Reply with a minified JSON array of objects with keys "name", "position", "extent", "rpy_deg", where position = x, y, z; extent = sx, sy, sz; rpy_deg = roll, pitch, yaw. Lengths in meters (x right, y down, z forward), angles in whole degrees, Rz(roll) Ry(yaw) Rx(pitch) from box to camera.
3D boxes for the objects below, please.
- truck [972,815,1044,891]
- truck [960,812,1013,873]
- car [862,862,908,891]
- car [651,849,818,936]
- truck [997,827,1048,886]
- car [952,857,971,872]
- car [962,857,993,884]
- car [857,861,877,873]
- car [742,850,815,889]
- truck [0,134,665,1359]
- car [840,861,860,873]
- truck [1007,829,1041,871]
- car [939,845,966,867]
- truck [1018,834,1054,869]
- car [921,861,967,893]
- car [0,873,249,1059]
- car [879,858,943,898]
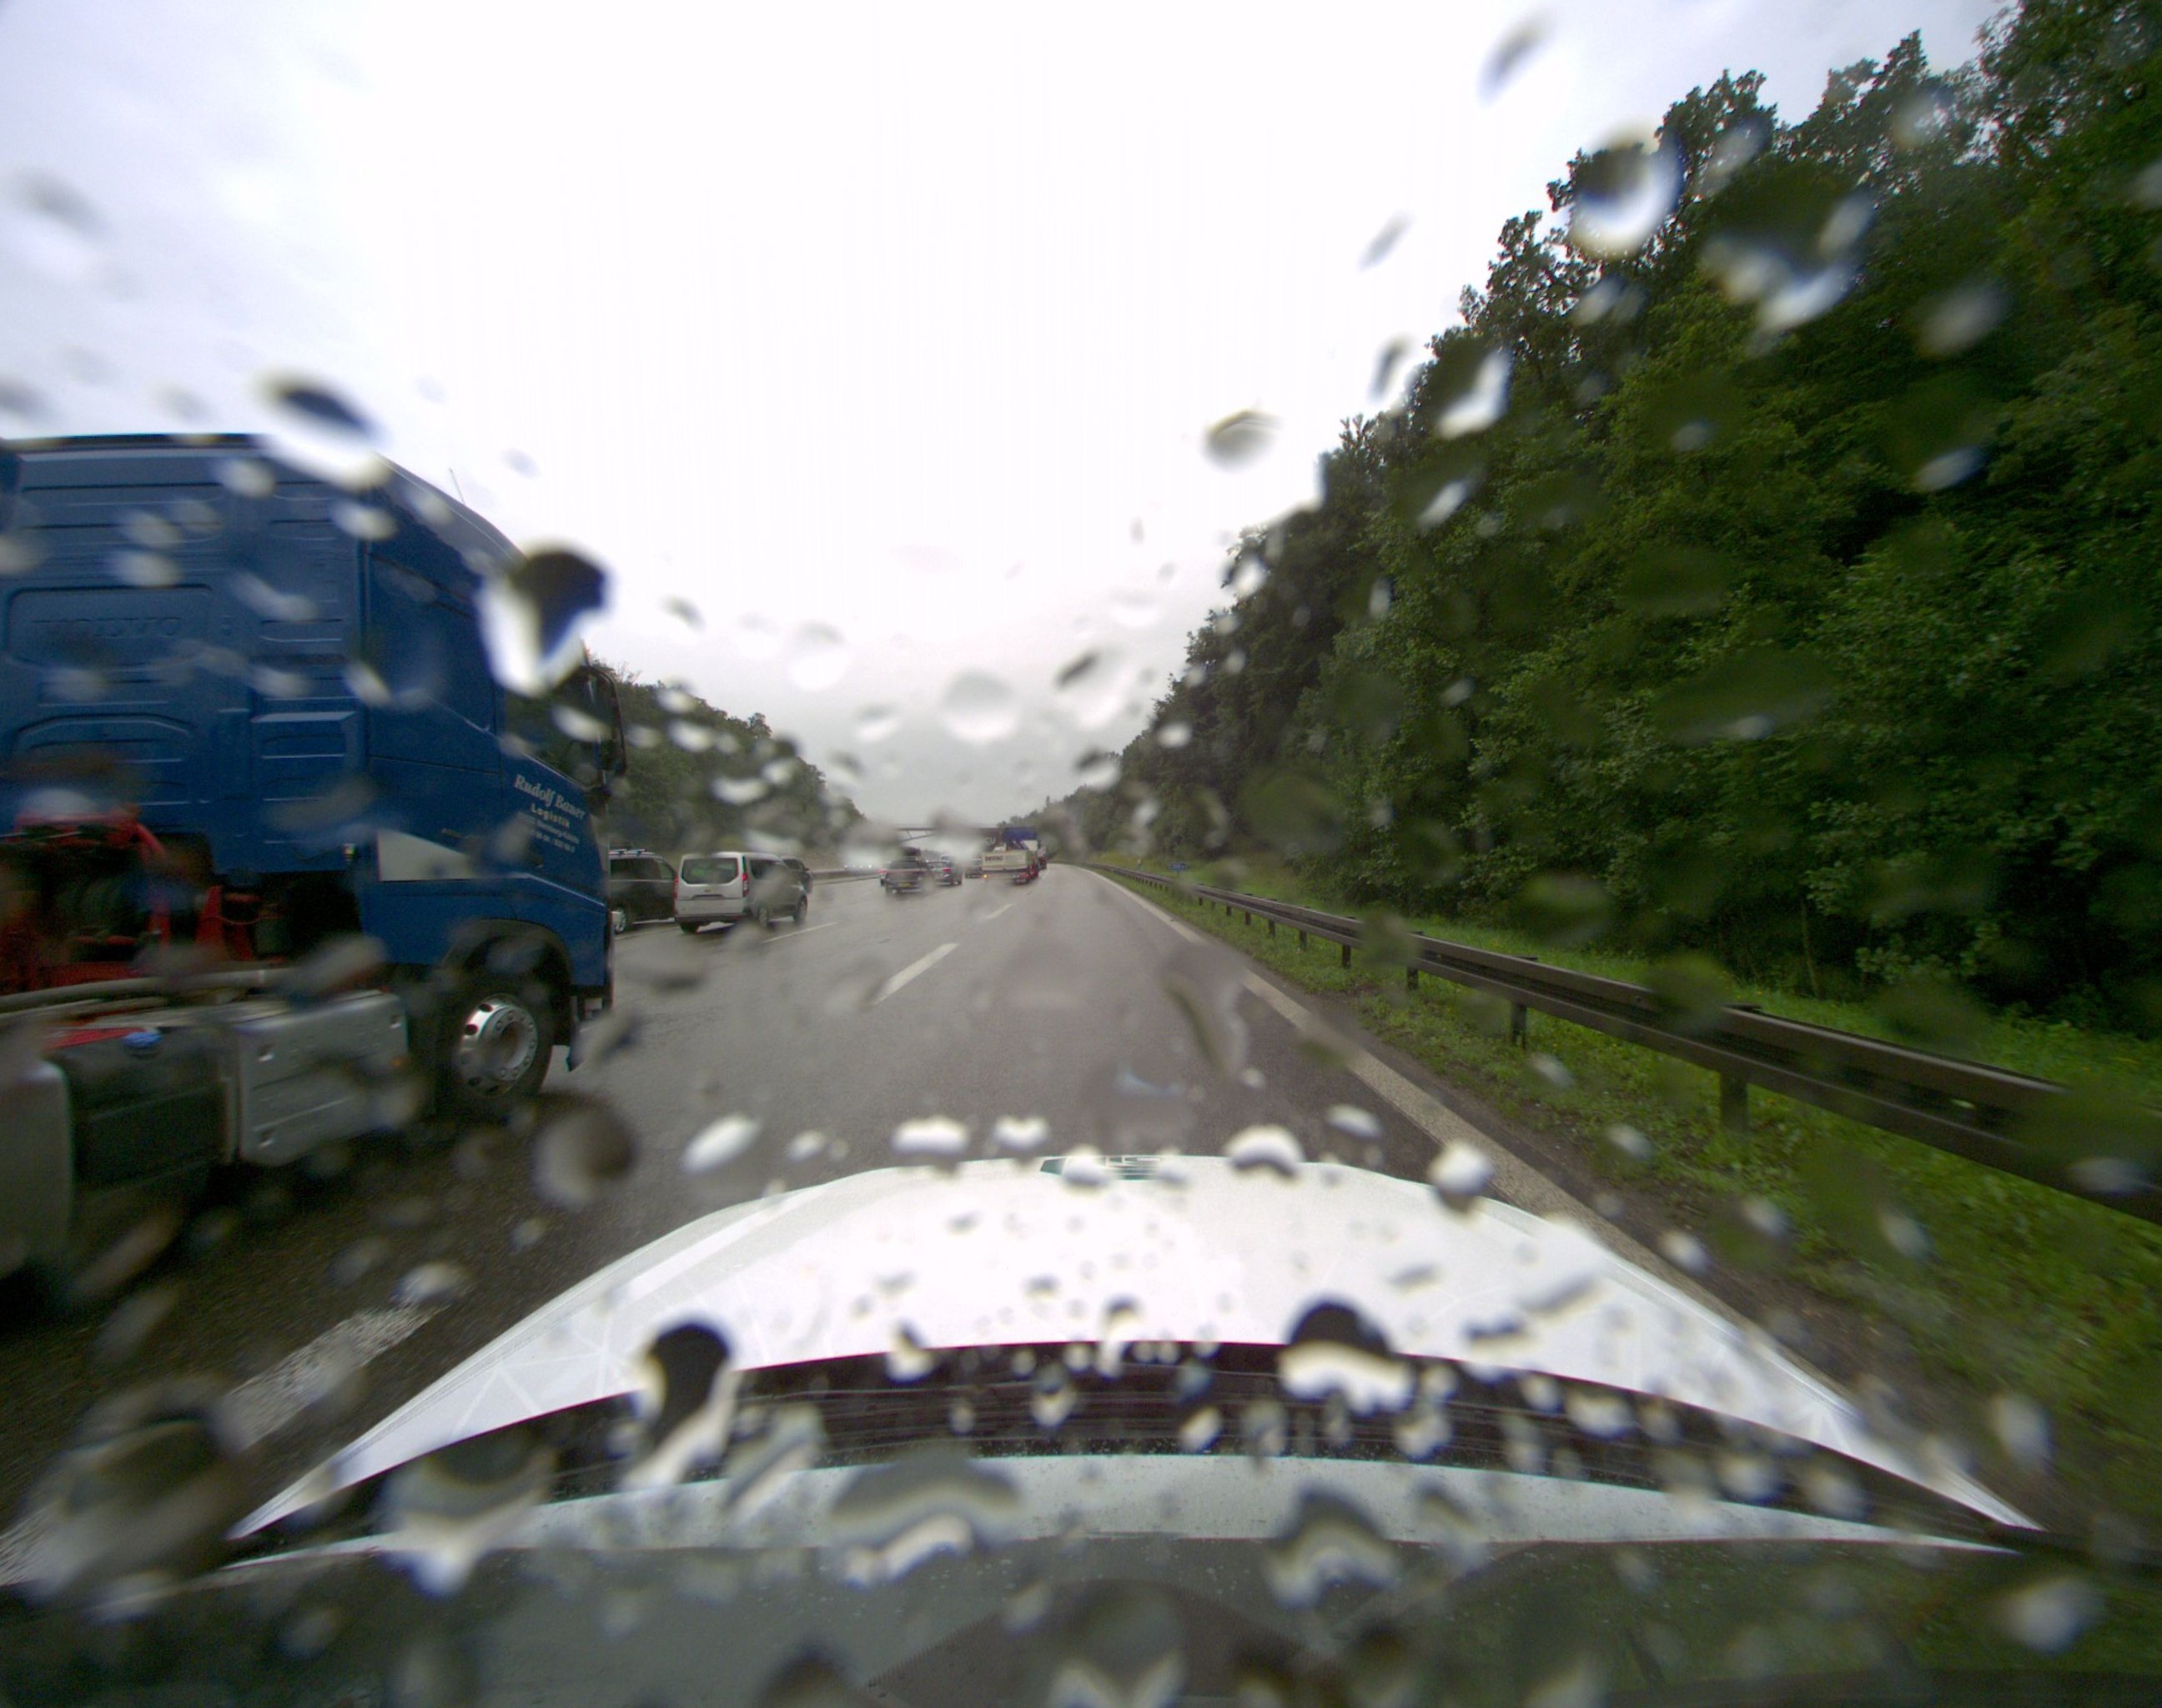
[{"name":"truck","position":[-4.293,-0.034,50.792],"extent":[3.589,4.105,11.554],"rpy_deg":[-1,0,-1]},{"name":"truck","position":[-9.299,-0.984,81.515],"extent":[3.741,5.500,10.172],"rpy_deg":[2,-2,1]},{"name":"car","position":[-12.412,1.436,51.782],"extent":[1.779,1.747,4.000],"rpy_deg":[2,-2,1]},{"name":"car","position":[-7.988,0.798,19.314],"extent":[1.839,1.751,4.568],"rpy_deg":[-2,0,1]},{"name":"truck","position":[-4.611,0.347,66.625],"extent":[3.497,4.268,10.595],"rpy_deg":[2,-2,-1]},{"name":"car","position":[-14.821,1.347,100.831],"extent":[1.847,1.663,3.996],"rpy_deg":[2,-2,-2]},{"name":"car","position":[-8.197,1.360,64.974],"extent":[1.787,2.014,4.000],"rpy_deg":[2,-2,1]},{"name":"car","position":[-31.905,1.869,121.634],"extent":[1.987,1.708,3.998],"rpy_deg":[-1,0,-1]},{"name":"car","position":[-15.048,0.741,40.790],"extent":[1.921,1.832,4.585],"rpy_deg":[-1,0,0]},{"name":"truck","position":[-4.691,-0.315,3.776],"extent":[2.868,3.693,5.055],"rpy_deg":[-1,0,-1]},{"name":"car","position":[-36.778,2.061,129.568],"extent":[1.987,1.784,3.999],"rpy_deg":[-1,0,0]},{"name":"truck","position":[-8.445,-0.514,121.316],"extent":[4.324,5.764,9.723],"rpy_deg":[2,-2,-1]},{"name":"car","position":[-12.267,0.225,78.017],"extent":[1.838,1.860,3.998],"rpy_deg":[2,-2,0]},{"name":"truck","position":[-5.526,-0.203,102.100],"extent":[3.743,3.971,11.053],"rpy_deg":[2,-2,-1]},{"name":"car","position":[-7.813,1.271,46.830],"extent":[1.932,1.662,4.000],"rpy_deg":[-1,0,0]},{"name":"car","position":[-11.744,1.160,8.404],"extent":[1.987,1.798,4.154],"rpy_deg":[-1,0,1]},{"name":"car","position":[-7.725,1.111,37.414],"extent":[1.987,1.636,3.999],"rpy_deg":[2,-2,0]}]
